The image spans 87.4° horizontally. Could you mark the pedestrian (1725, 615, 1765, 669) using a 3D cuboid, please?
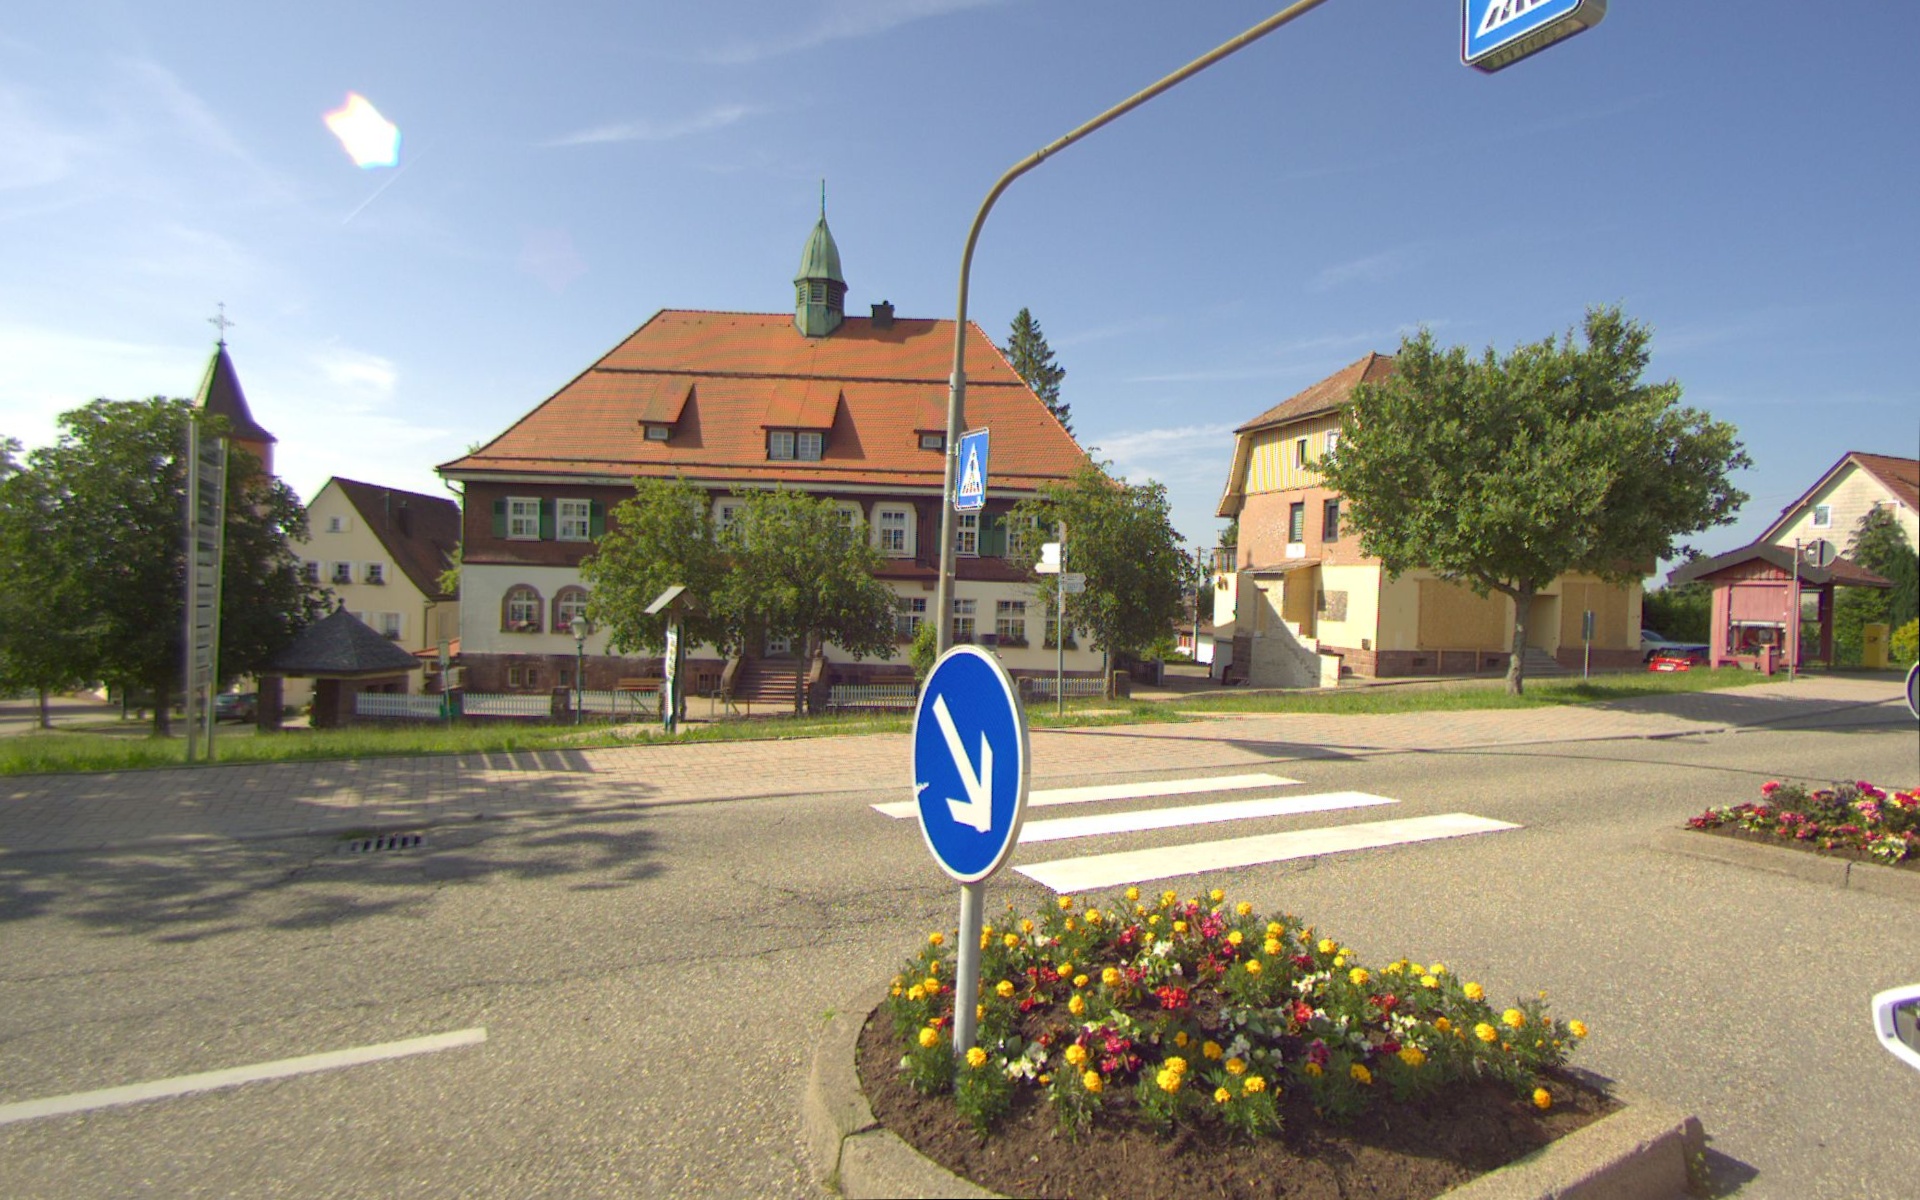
[{"bbox_3d":[20.696,1.102,26.482,0.667,1.382,0.614,0,-1,-33],"label":"pedestrian"}]

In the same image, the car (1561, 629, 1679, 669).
[{"bbox_3d":[30.559,2.235,46.652,1.774,1.531,4.293,3,0,-21],"label":"car"}]

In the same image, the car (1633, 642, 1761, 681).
[{"bbox_3d":[26.506,2.192,36.133,3.936,1.314,1.720,1,-2,-17],"label":"car"}]

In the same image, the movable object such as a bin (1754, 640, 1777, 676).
[{"bbox_3d":[19.362,1.393,24.136,0.480,0.848,0.303,2,-1,-34],"label":"movable object such as a bin"}]

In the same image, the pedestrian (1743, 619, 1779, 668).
[{"bbox_3d":[21.297,1.154,26.708,0.419,1.269,0.625,1,-2,-34],"label":"pedestrian"}]

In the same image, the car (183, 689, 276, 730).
[{"bbox_3d":[-34.590,5.163,47.693,1.964,1.639,3.994,0,-2,-10],"label":"car"}]

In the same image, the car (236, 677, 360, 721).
[{"bbox_3d":[-24.226,3.608,36.842,3.434,1.486,1.578,0,-2,-3],"label":"car"}]
